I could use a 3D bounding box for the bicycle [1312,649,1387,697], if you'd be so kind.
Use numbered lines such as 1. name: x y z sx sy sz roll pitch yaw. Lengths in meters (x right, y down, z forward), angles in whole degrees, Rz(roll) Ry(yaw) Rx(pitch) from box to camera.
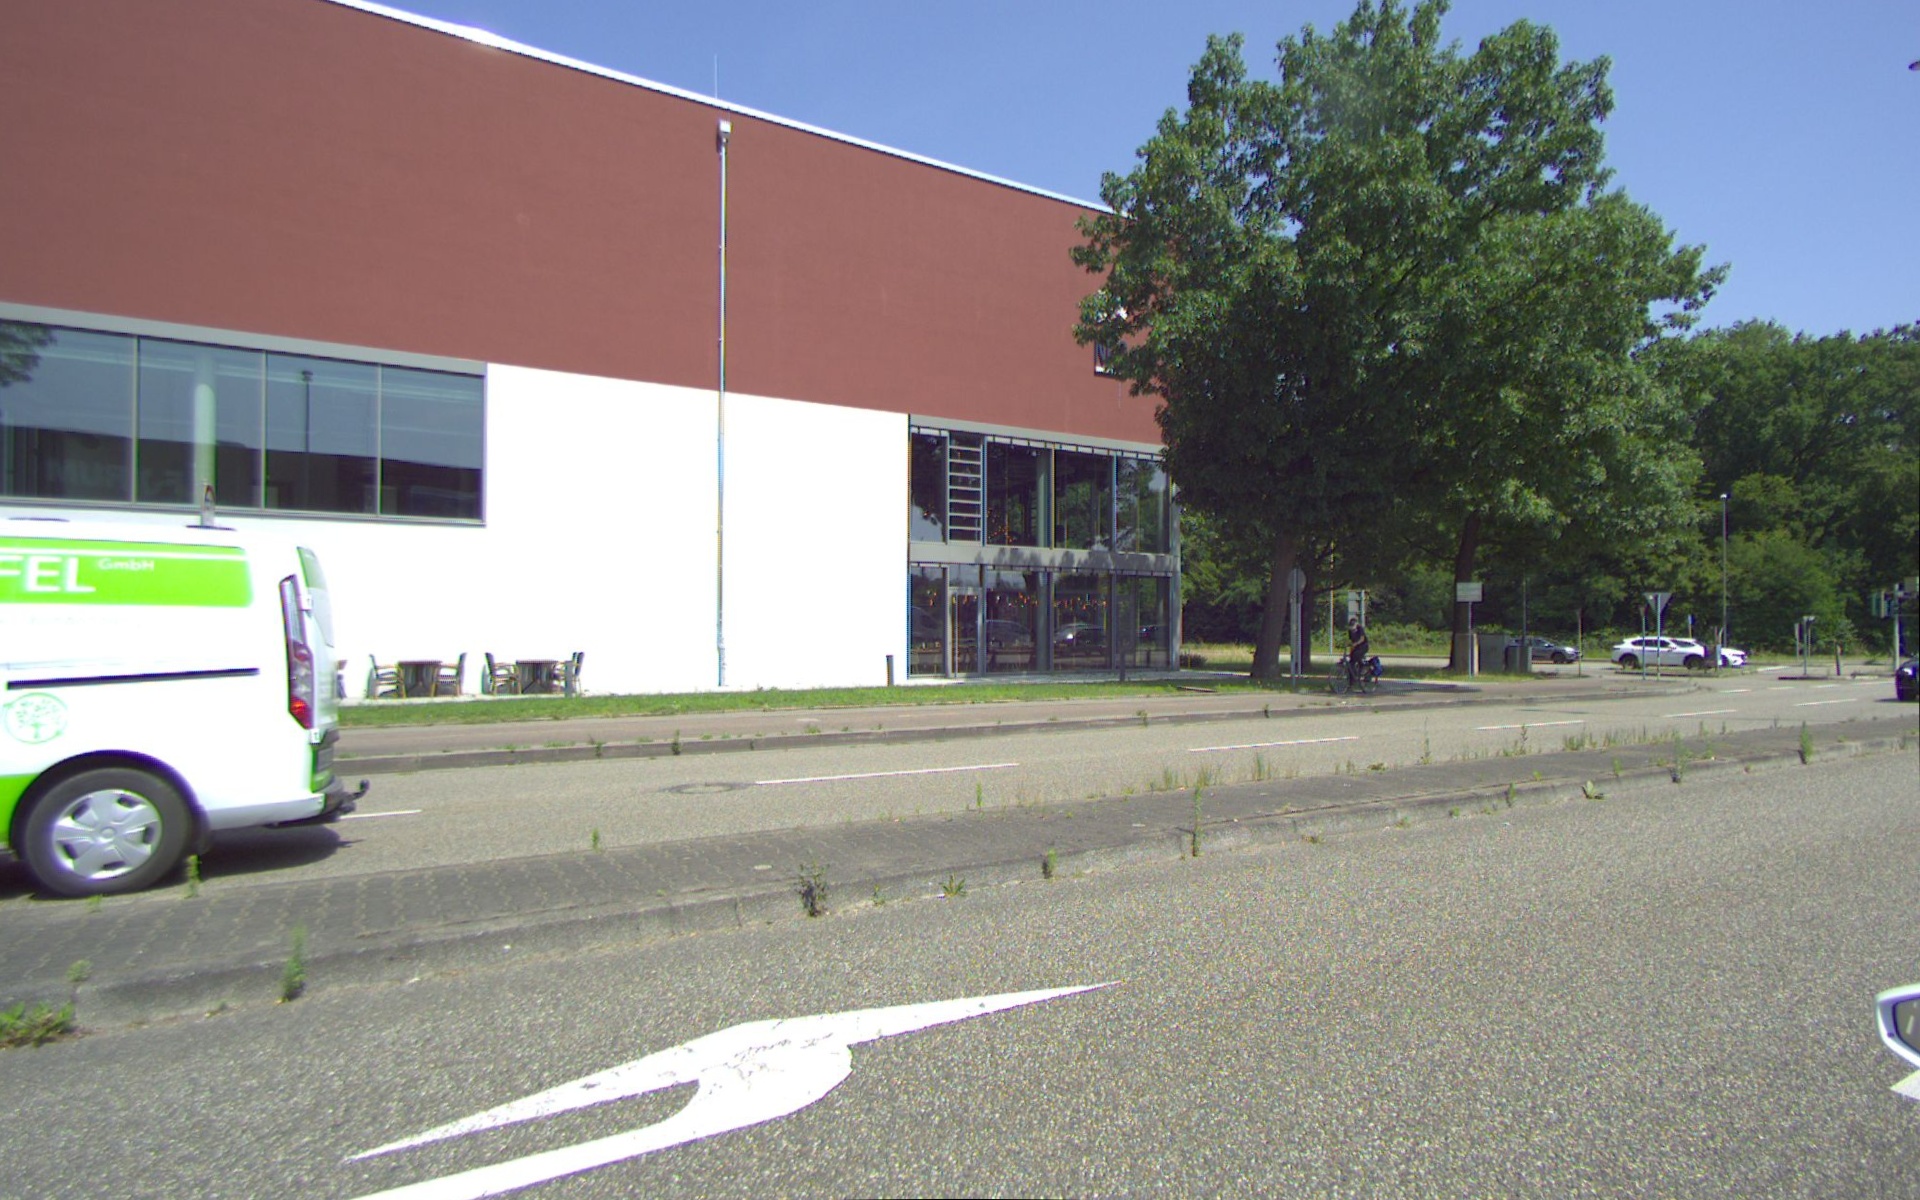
1. bicycle: 9.246 1.706 23.838 1.862 1.065 0.652 1 -1 -30

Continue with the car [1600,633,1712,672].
1. car: 35.400 2.640 51.180 1.794 1.704 4.338 2 0 -37

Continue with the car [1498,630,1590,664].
1. car: 34.387 2.740 59.204 1.796 1.704 4.333 2 0 -40

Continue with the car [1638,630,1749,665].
1. car: 38.685 2.535 53.065 1.794 1.703 4.341 2 -5 -37

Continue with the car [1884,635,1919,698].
1. car: 22.514 1.458 22.471 3.955 1.356 1.670 1 -4 -32

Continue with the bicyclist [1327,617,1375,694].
1. bicyclist: 9.296 1.305 23.870 0.917 1.793 0.646 1 -1 -30

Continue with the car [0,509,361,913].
1. car: -5.989 0.576 5.282 4.853 1.971 1.984 1 -3 -32
